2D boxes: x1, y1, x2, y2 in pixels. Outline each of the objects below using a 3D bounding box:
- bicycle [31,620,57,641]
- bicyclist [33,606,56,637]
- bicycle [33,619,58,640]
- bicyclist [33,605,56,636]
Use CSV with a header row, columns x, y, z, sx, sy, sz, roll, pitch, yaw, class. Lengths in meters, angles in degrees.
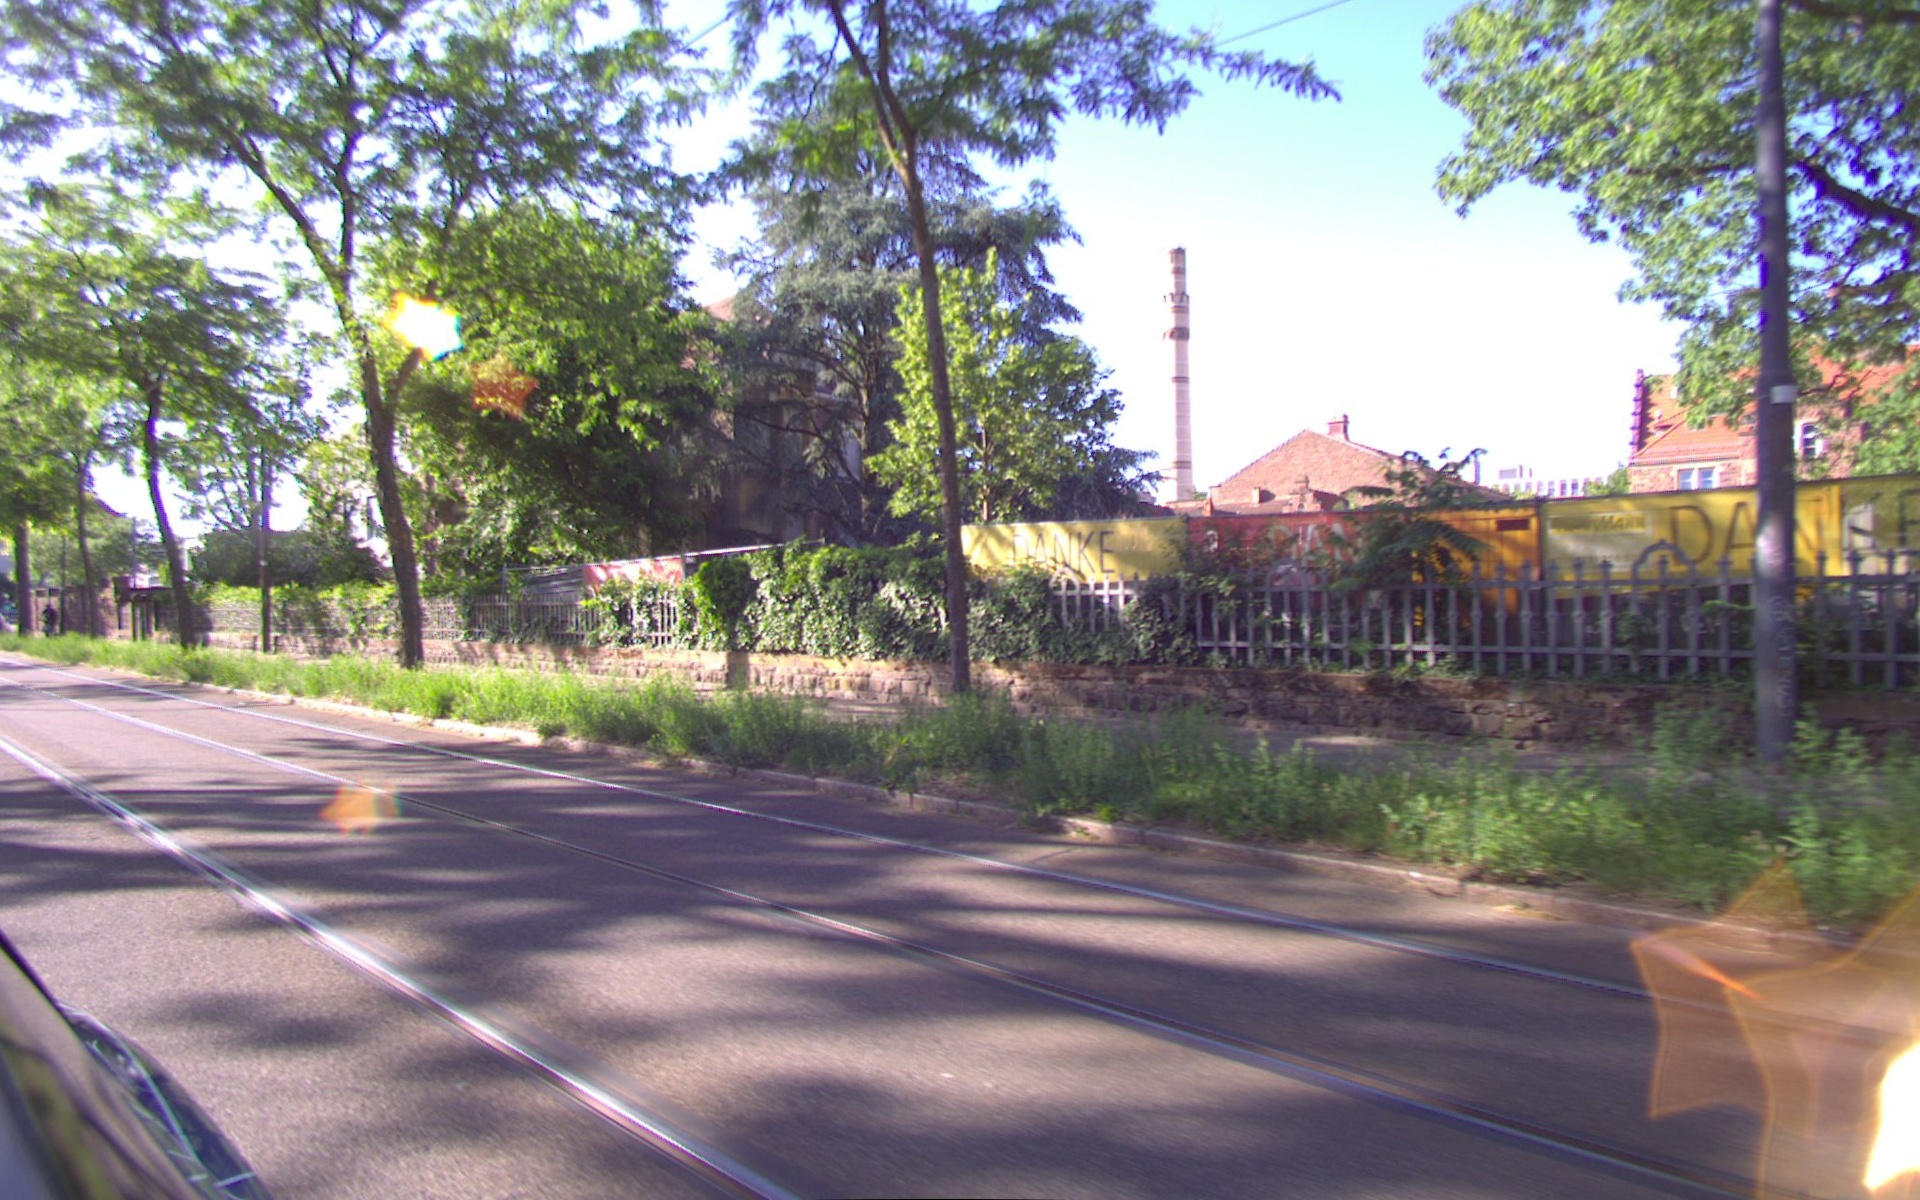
x,y,z,sx,sy,sz,roll,pitch,yaw,class
-44.169,1.464,48.791,2.094,0.967,0.703,-1,0,42,bicycle
-44.123,1.027,48.751,1.041,1.481,0.701,-1,0,42,bicyclist
-46.356,1.489,51.298,1.887,0.981,0.710,0,2,41,bicycle
-46.437,1.045,51.348,0.956,1.510,0.702,0,2,41,bicyclist
